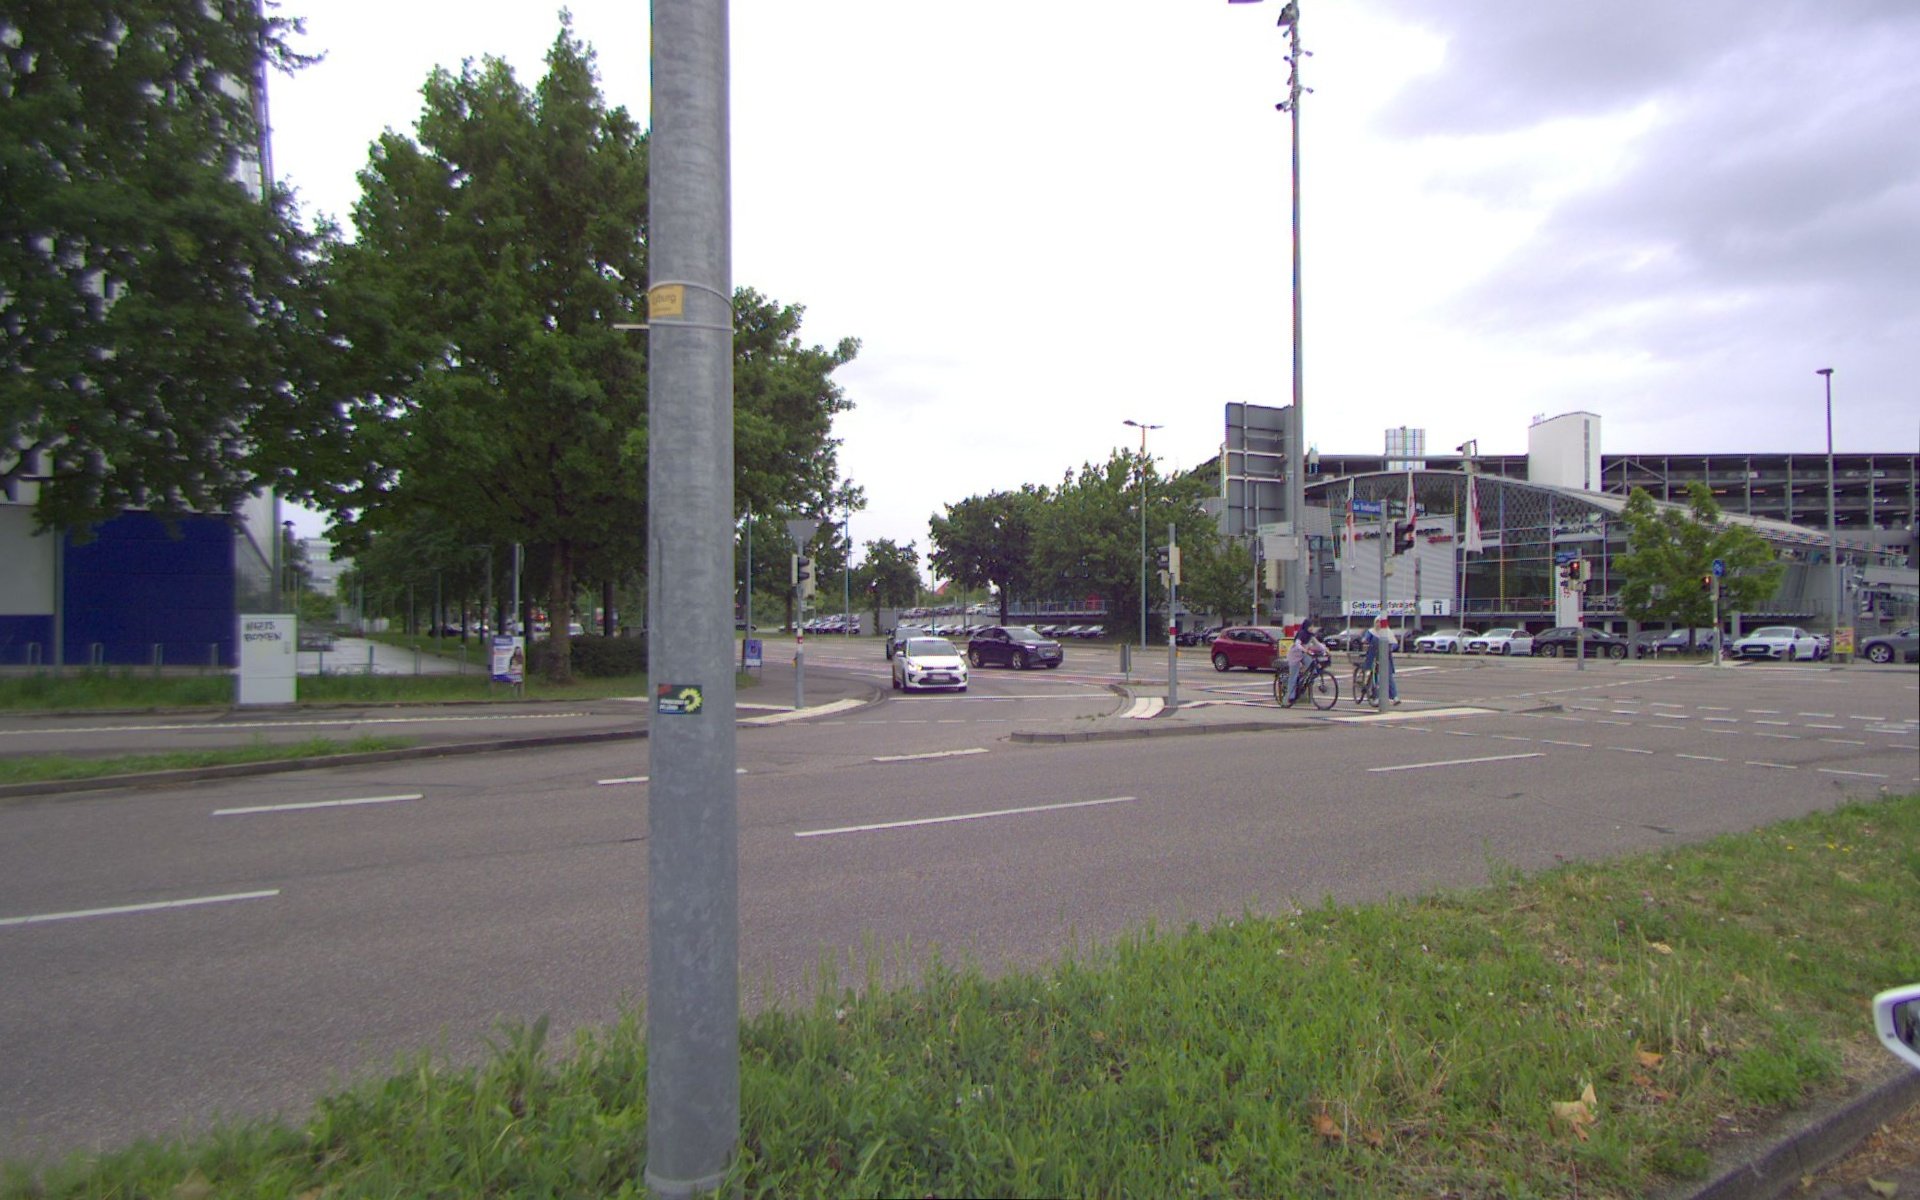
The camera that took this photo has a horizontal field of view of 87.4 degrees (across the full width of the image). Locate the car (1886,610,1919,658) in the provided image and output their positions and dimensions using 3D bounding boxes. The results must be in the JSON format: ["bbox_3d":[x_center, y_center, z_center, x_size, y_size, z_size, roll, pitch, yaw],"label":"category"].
[{"bbox_3d":[42.281,1.400,41.872,2.243,2.040,4.993,2,-4,-34],"label":"car"}]

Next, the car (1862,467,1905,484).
[{"bbox_3d":[119.363,-16.104,129.935,1.960,1.689,4.001,1,0,2],"label":"car"}]

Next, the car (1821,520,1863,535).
[{"bbox_3d":[114.184,-9.373,130.085,1.960,1.689,4.001,1,0,2],"label":"car"}]

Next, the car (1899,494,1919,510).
[{"bbox_3d":[124.160,-12.705,129.846,1.960,1.689,4.001,1,0,2],"label":"car"}]

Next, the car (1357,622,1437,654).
[{"bbox_3d":[23.006,2.015,52.800,4.188,1.505,1.855,4,-3,-33],"label":"car"}]

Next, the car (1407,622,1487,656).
[{"bbox_3d":[24.507,1.958,50.505,4.002,1.505,1.860,4,-3,-33],"label":"car"}]

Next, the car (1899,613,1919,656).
[{"bbox_3d":[44.314,1.458,43.562,2.034,1.900,4.914,2,-4,-35],"label":"car"}]

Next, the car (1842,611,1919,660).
[{"bbox_3d":[37.596,1.385,38.957,1.979,1.887,4.744,2,-4,-34],"label":"car"}]

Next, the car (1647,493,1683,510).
[{"bbox_3d":[91.581,-12.778,130.565,1.960,1.689,4.001,1,0,2],"label":"car"}]

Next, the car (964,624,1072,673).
[{"bbox_3d":[2.165,1.819,38.522,1.867,1.659,4.292,-3,0,-35],"label":"car"}]

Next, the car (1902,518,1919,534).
[{"bbox_3d":[126.702,-9.765,131.284,2.167,1.971,5.331,1,0,-1],"label":"car"}]

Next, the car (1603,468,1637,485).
[{"bbox_3d":[86.138,-16.095,131.205,1.960,1.689,4.001,1,0,2],"label":"car"}]

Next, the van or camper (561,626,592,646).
[{"bbox_3d":[-35.319,3.314,92.465,1.977,1.744,4.359,0,-3,-31],"label":"van or camper"}]

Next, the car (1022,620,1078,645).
[{"bbox_3d":[7.068,2.560,78.627,4.037,1.505,1.801,7,-3,-34],"label":"car"}]

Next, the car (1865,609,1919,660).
[{"bbox_3d":[39.732,1.377,40.341,1.979,2.040,4.674,2,-4,-34],"label":"car"}]

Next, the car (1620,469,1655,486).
[{"bbox_3d":[88.533,-16.021,131.312,1.960,1.689,4.001,1,0,2],"label":"car"}]

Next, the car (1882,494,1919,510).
[{"bbox_3d":[121.940,-12.688,129.861,1.960,1.689,4.001,1,0,2],"label":"car"}]

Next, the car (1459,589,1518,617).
[{"bbox_3d":[34.736,0.197,65.992,3.960,1.684,1.807,2,0,-35],"label":"car"}]

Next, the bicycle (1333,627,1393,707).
[{"bbox_3d":[7.514,1.247,18.800,0.585,1.414,1.936,-2,-4,9],"label":"bicycle"}]

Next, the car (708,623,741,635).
[{"bbox_3d":[-31.115,3.774,132.540,3.949,1.455,1.718,2,0,-27],"label":"car"}]

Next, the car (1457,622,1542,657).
[{"bbox_3d":[26.033,1.898,48.443,4.154,1.505,1.836,4,-3,-33],"label":"car"}]

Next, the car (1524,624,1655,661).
[{"bbox_3d":[28.394,1.891,45.456,1.873,1.505,4.713,4,-4,-32],"label":"car"}]

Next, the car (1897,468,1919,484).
[{"bbox_3d":[124.366,-16.077,130.277,1.960,1.689,4.001,1,0,2],"label":"car"}]

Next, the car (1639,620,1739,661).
[{"bbox_3d":[30.509,1.741,42.009,4.473,1.505,2.050,4,-5,-35],"label":"car"}]

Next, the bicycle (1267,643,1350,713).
[{"bbox_3d":[6.307,1.383,18.290,0.499,1.181,1.943,2,-3,-11],"label":"bicycle"}]

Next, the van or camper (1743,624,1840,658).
[{"bbox_3d":[47.814,2.344,57.816,1.828,1.734,3.963,2,0,-33],"label":"van or camper"}]

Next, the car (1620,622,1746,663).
[{"bbox_3d":[36.283,2.080,50.522,1.978,1.965,4.776,1,-2,-32],"label":"car"}]

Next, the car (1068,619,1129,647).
[{"bbox_3d":[10.221,2.442,74.158,4.210,1.622,1.858,8,-4,-34],"label":"car"}]

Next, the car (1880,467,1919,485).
[{"bbox_3d":[122.122,-16.062,130.299,1.960,1.689,4.001,1,0,2],"label":"car"}]

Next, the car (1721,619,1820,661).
[{"bbox_3d":[32.024,1.598,39.655,4.184,1.505,1.858,3,-3,-33],"label":"car"}]

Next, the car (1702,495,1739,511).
[{"bbox_3d":[98.654,-12.569,130.367,1.960,1.689,4.001,1,0,2],"label":"car"}]

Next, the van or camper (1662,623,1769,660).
[{"bbox_3d":[38.906,2.111,51.779,1.979,1.700,3.963,2,0,-33],"label":"van or camper"}]

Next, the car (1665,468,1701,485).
[{"bbox_3d":[94.077,-16.071,130.789,1.960,1.689,4.001,1,0,2],"label":"car"}]

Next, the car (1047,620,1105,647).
[{"bbox_3d":[8.852,2.567,76.439,4.181,1.504,1.808,8,-4,-34],"label":"car"}]

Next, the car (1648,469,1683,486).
[{"bbox_3d":[91.709,-15.927,130.618,1.960,1.689,4.001,1,0,2],"label":"car"}]

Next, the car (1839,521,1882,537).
[{"bbox_3d":[116.795,-9.216,130.324,1.960,1.689,4.001,1,0,2],"label":"car"}]

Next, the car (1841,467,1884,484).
[{"bbox_3d":[116.743,-16.100,129.979,1.960,1.689,4.001,1,0,2],"label":"car"}]
